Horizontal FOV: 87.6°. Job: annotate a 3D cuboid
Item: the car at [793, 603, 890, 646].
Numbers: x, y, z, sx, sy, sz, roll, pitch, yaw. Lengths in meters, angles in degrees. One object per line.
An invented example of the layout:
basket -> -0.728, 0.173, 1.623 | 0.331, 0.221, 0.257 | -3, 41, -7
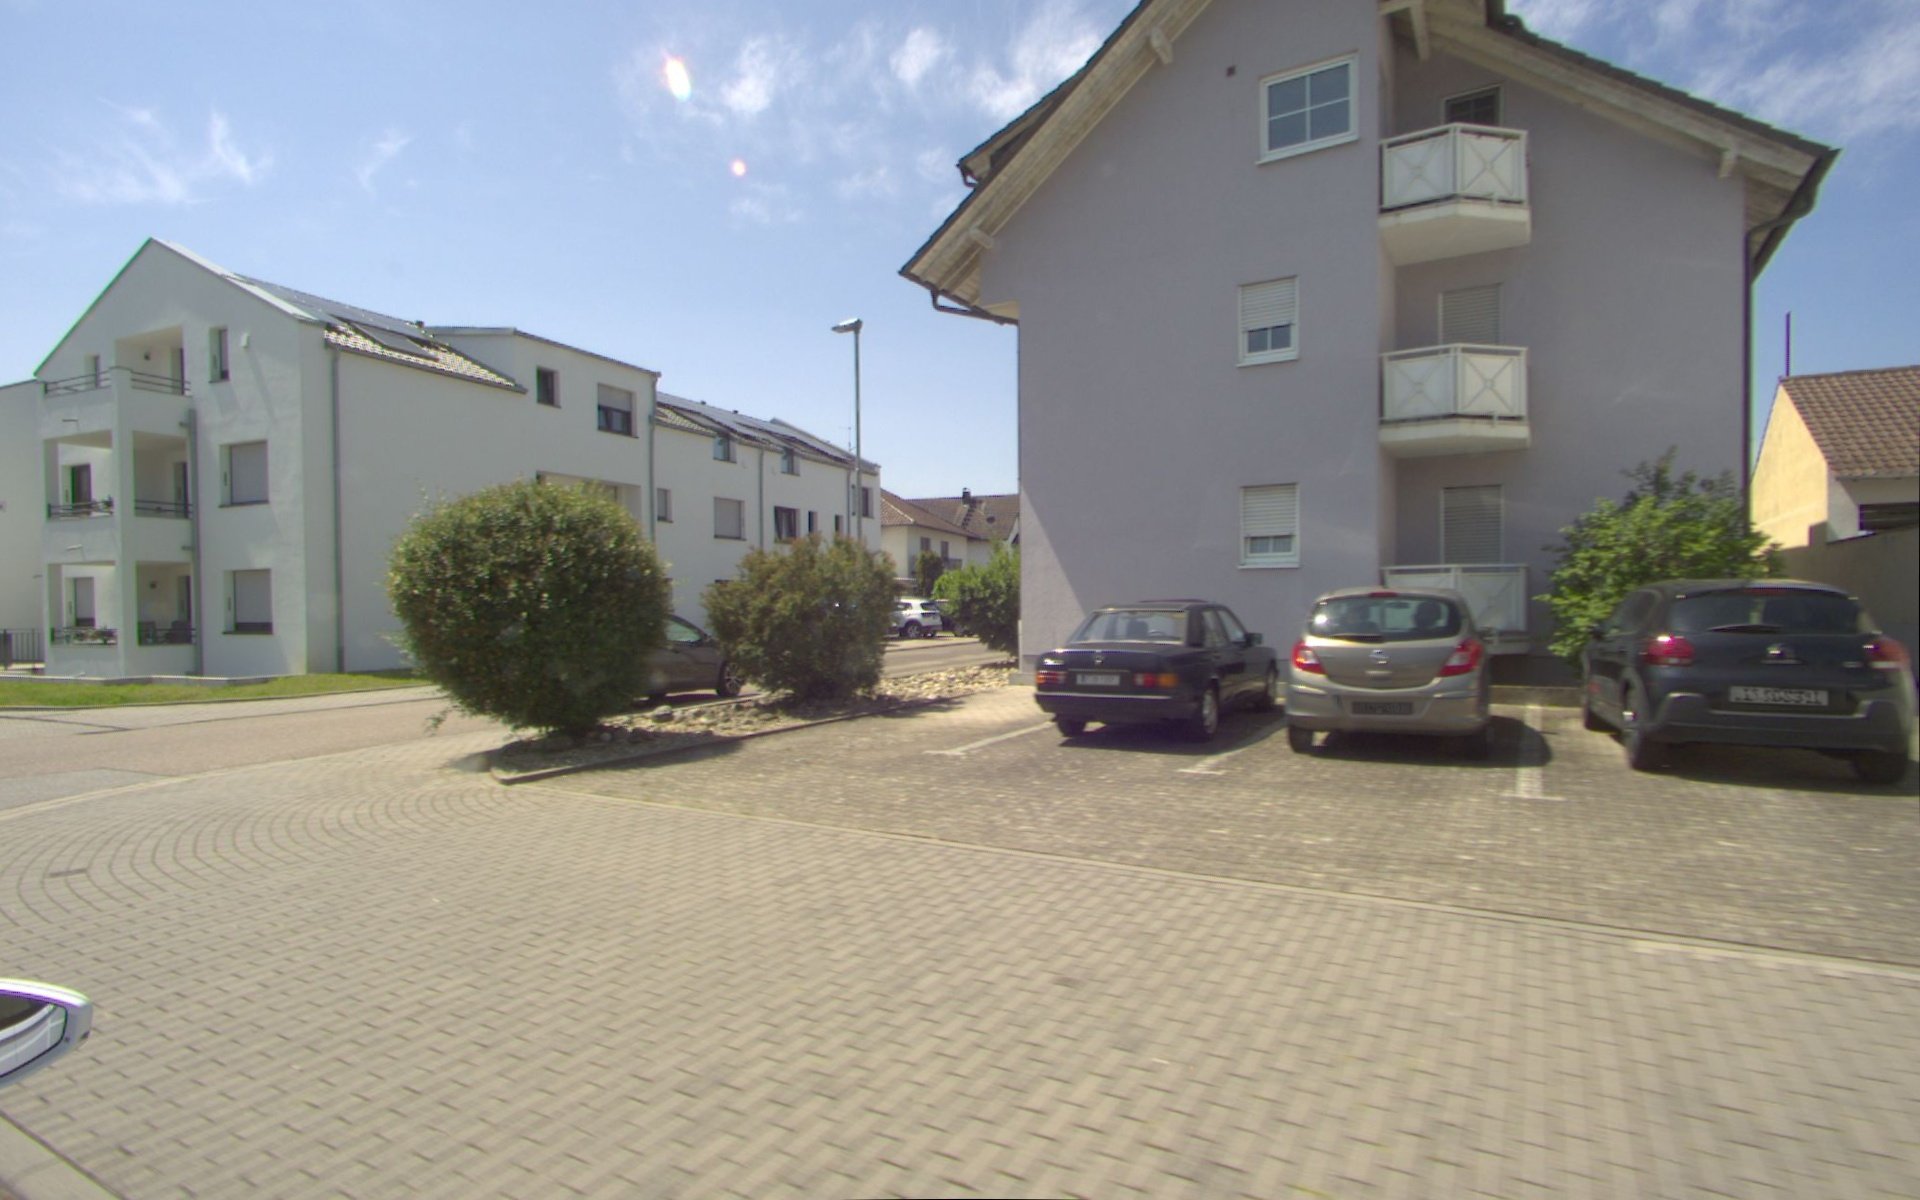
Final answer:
car -> -4.262, 0.859, 35.964 | 3.163, 1.460, 1.458 | 0, 0, 23

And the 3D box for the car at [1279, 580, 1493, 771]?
car -> 4.270, 0.603, 9.832 | 1.638, 1.514, 3.442 | 0, 0, 27

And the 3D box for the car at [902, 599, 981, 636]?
car -> -0.824, 0.764, 43.920 | 3.163, 1.597, 1.458 | 0, 0, 23

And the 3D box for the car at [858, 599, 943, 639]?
car -> -2.412, 0.770, 40.895 | 3.163, 1.597, 1.458 | 0, 0, 23

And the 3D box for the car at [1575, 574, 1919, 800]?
car -> 6.494, 0.590, 8.614 | 1.637, 1.516, 3.500 | 0, 0, 25

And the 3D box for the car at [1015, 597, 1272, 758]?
car -> 2.194, 0.676, 10.920 | 1.638, 1.392, 4.198 | 0, 0, 27

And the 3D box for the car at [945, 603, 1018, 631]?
car -> 1.025, 0.807, 47.992 | 3.163, 1.297, 1.458 | 0, 0, 23

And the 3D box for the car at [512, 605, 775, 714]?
car -> -4.823, 0.829, 15.869 | 1.727, 1.487, 3.991 | 0, 0, 25
